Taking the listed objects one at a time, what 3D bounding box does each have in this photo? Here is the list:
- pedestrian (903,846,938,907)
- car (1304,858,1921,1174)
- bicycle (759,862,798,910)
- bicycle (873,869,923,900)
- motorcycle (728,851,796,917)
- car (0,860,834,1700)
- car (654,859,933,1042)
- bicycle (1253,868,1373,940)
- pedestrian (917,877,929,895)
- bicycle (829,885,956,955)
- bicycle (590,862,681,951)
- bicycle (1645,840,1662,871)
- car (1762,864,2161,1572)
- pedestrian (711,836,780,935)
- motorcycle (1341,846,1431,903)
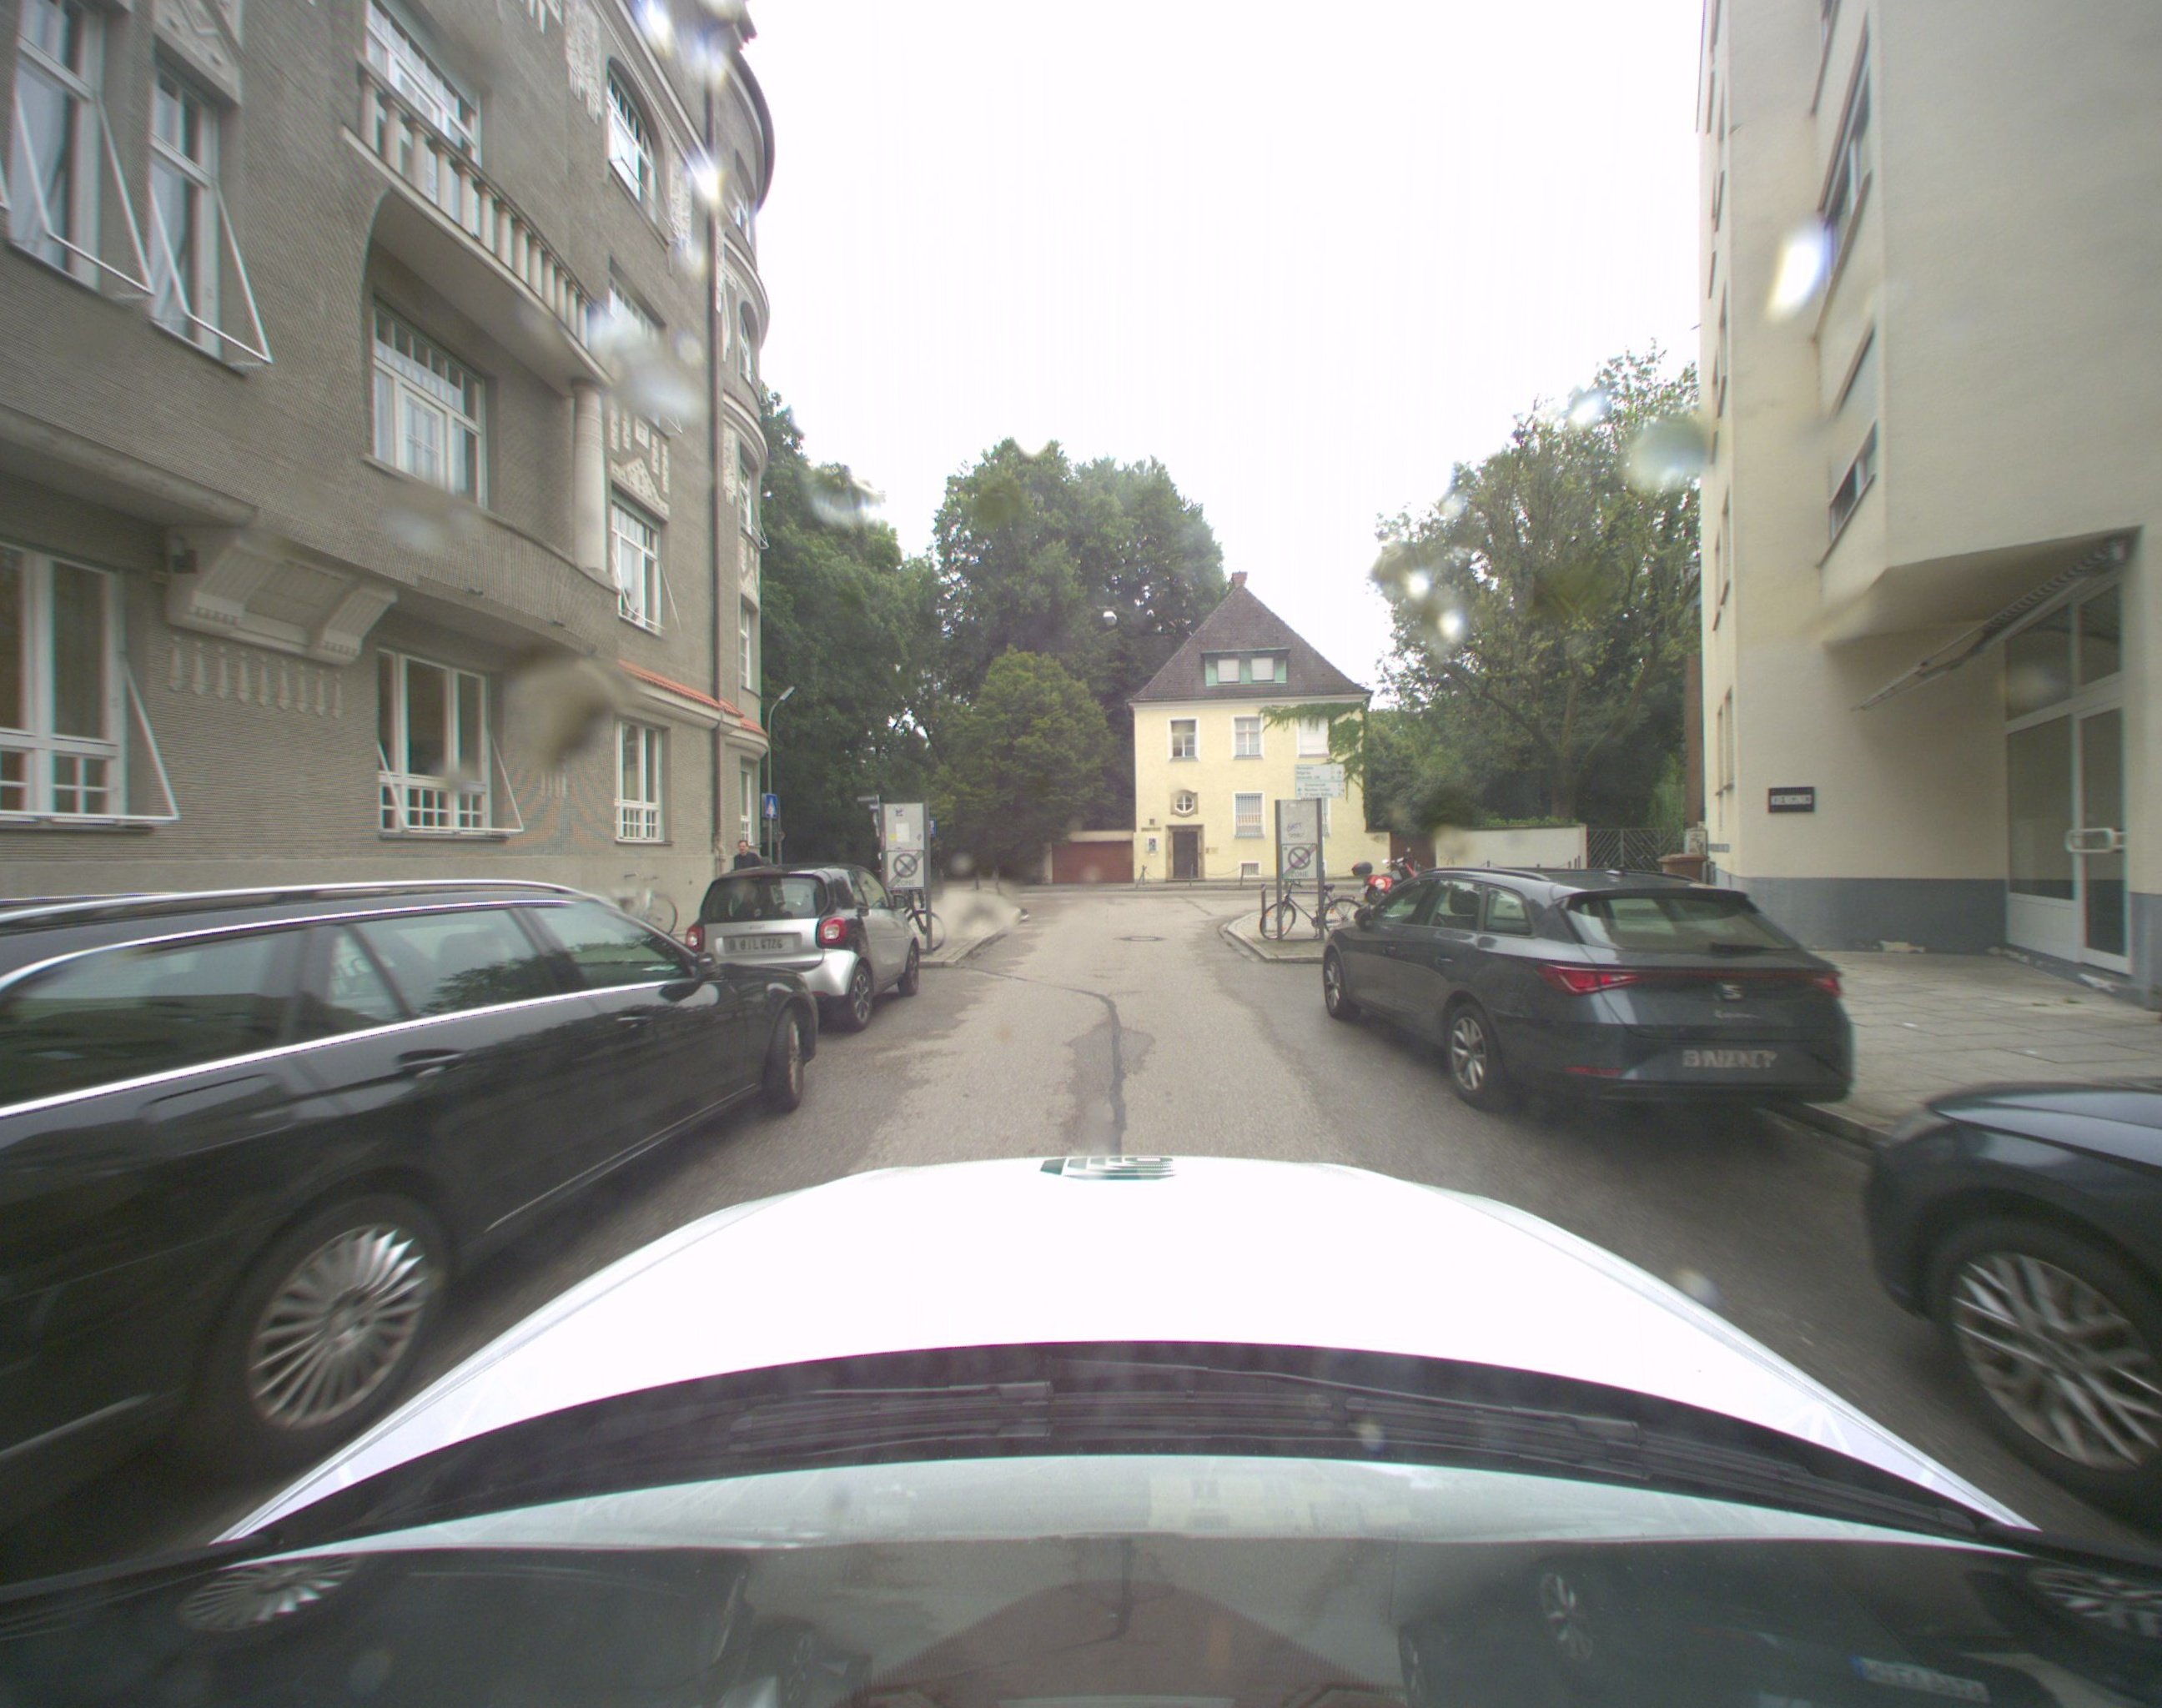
[{"bbox_3d":[-4.435,0.601,22.505,0.814,1.642,0.721,0,0,-24],"label":"pedestrian"},{"bbox_3d":[3.170,0.779,6.190,1.687,1.471,4.610,0,0,0],"label":"car"},{"bbox_3d":[-8.397,0.846,22.594,0.740,1.256,1.908,0,0,-29],"label":"bicycle"},{"bbox_3d":[-6.284,1.034,27.875,1.982,1.010,0.515,-1,0,38],"label":"bicycle"},{"bbox_3d":[-7.454,0.665,19.137,0.733,1.441,2.147,0,0,0],"label":"motorcycle"},{"bbox_3d":[-2.757,0.815,3.343,1.748,1.515,4.712,-1,0,4],"label":"car"},{"bbox_3d":[-2.721,0.839,8.402,1.697,1.515,2.913,-1,0,3],"label":"car"},{"bbox_3d":[3.840,0.816,13.512,1.774,1.085,0.670,-2,1,29],"label":"bicycle"},{"bbox_3d":[-10.124,2.051,52.128,0.582,1.168,0.498,0,0,7],"label":"pedestrian"},{"bbox_3d":[-2.870,1.005,12.477,1.796,1.015,0.540,0,0,0],"label":"bicycle"},{"bbox_3d":[-7.275,0.810,13.389,0.617,1.349,1.673,0,0,-2],"label":"bicycle"},{"bbox_3d":[23.075,0.050,32.801,0.529,1.219,2.096,-1,0,35],"label":"bicycle"},{"bbox_3d":[3.087,0.771,0.795,1.629,1.471,3.854,0,0,0],"label":"car"},{"bbox_3d":[-6.219,0.576,15.151,0.835,1.787,0.937,0,0,4],"label":"pedestrian"},{"bbox_3d":[7.551,0.484,20.150,2.086,1.356,0.811,0,0,-22],"label":"motorcycle"}]
